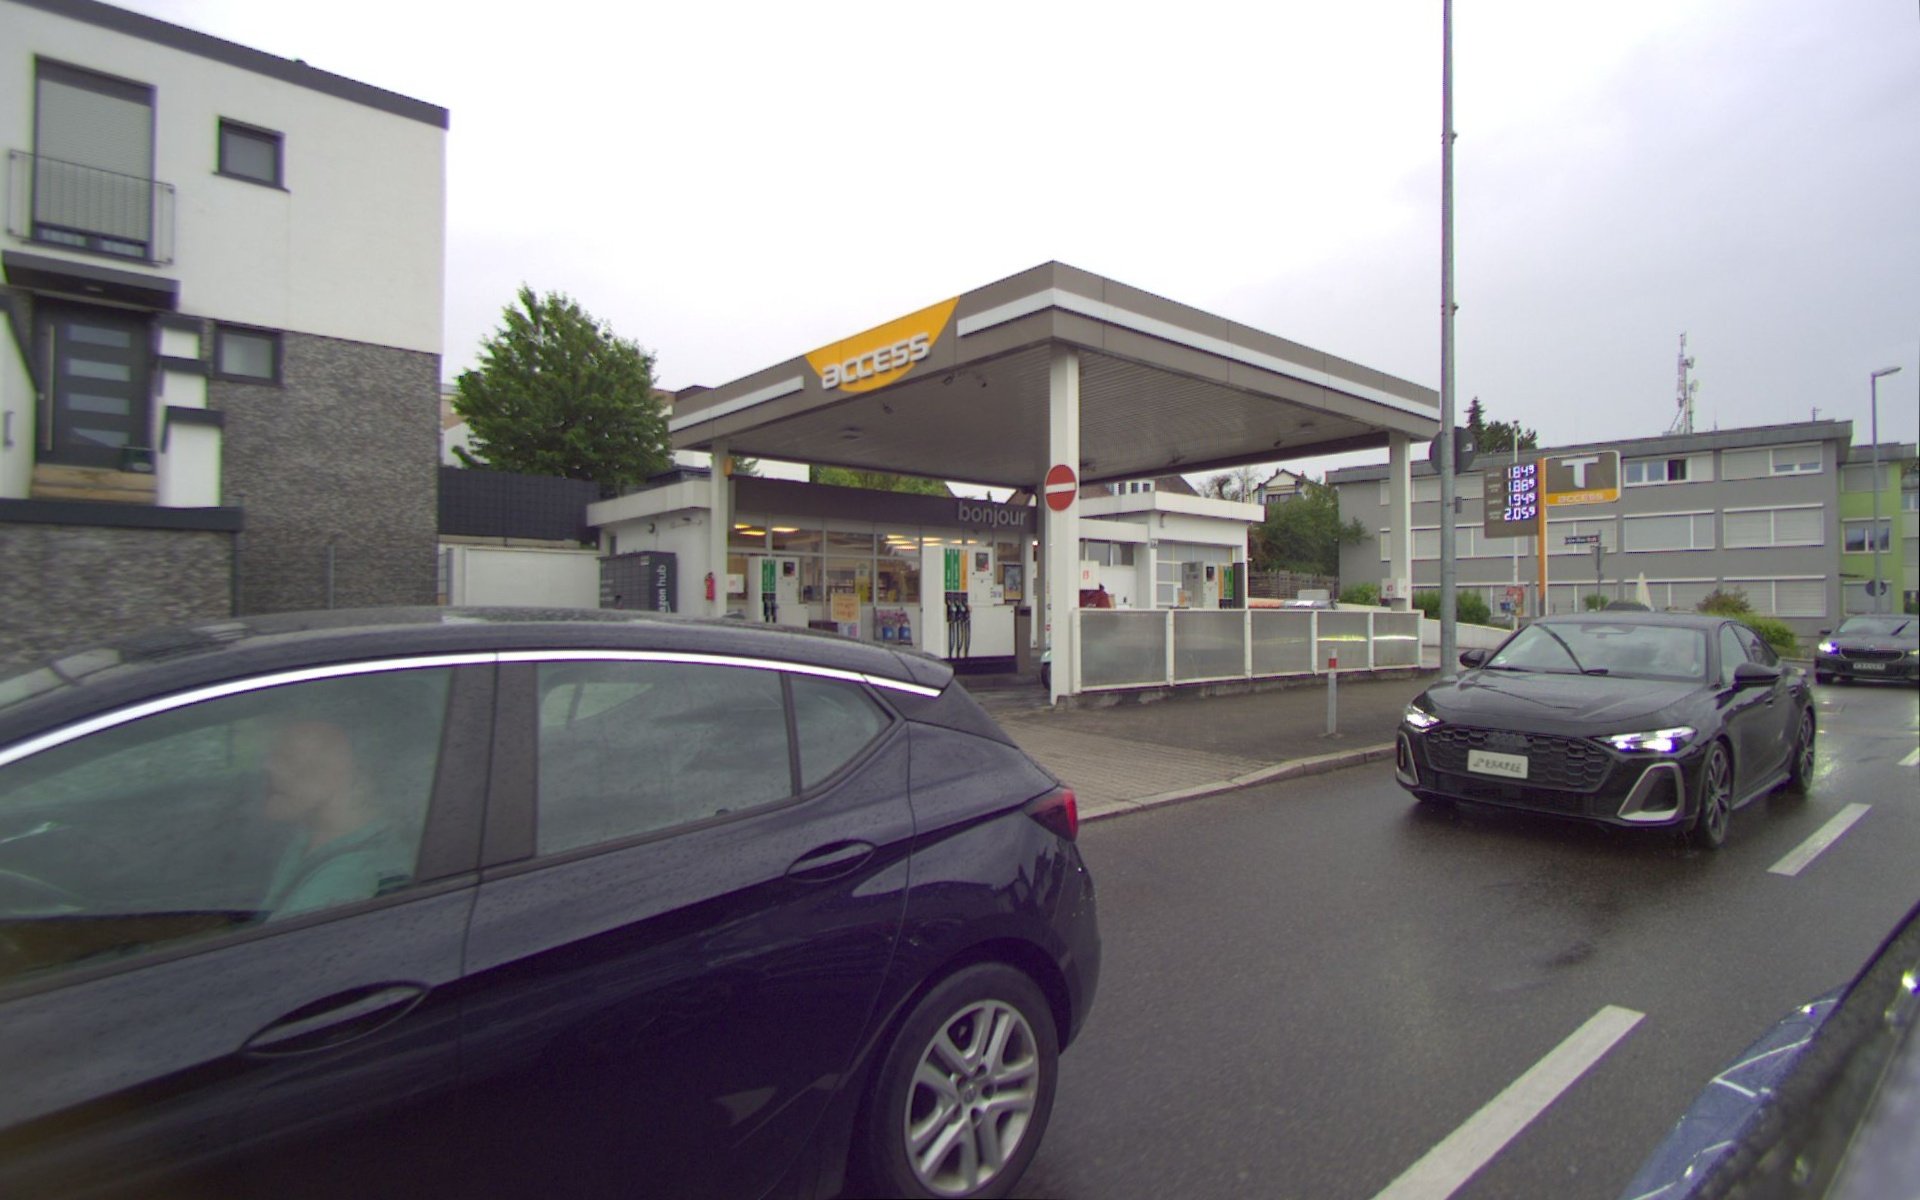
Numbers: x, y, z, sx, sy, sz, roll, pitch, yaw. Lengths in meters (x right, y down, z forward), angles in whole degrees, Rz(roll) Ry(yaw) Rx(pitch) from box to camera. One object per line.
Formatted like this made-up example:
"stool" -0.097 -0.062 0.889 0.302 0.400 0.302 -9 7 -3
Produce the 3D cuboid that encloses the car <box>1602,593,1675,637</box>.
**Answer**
"car" 26.561 0.553 39.590 1.809 1.545 3.940 5 3 41

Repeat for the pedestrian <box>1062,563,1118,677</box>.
"pedestrian" 1.970 0.288 15.322 0.575 1.677 0.611 0 -1 -40

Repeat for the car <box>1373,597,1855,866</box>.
"car" 5.162 0.699 7.687 4.656 1.442 1.869 0 0 -41

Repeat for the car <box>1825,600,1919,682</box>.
"car" 19.403 0.781 20.801 3.929 1.538 1.871 0 0 -40

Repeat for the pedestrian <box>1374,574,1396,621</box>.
"pedestrian" 18.406 -0.107 43.831 0.715 2.039 0.605 -1 -1 43

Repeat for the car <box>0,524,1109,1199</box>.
"car" -1.677 0.639 1.990 3.929 1.468 1.759 0 0 -40
